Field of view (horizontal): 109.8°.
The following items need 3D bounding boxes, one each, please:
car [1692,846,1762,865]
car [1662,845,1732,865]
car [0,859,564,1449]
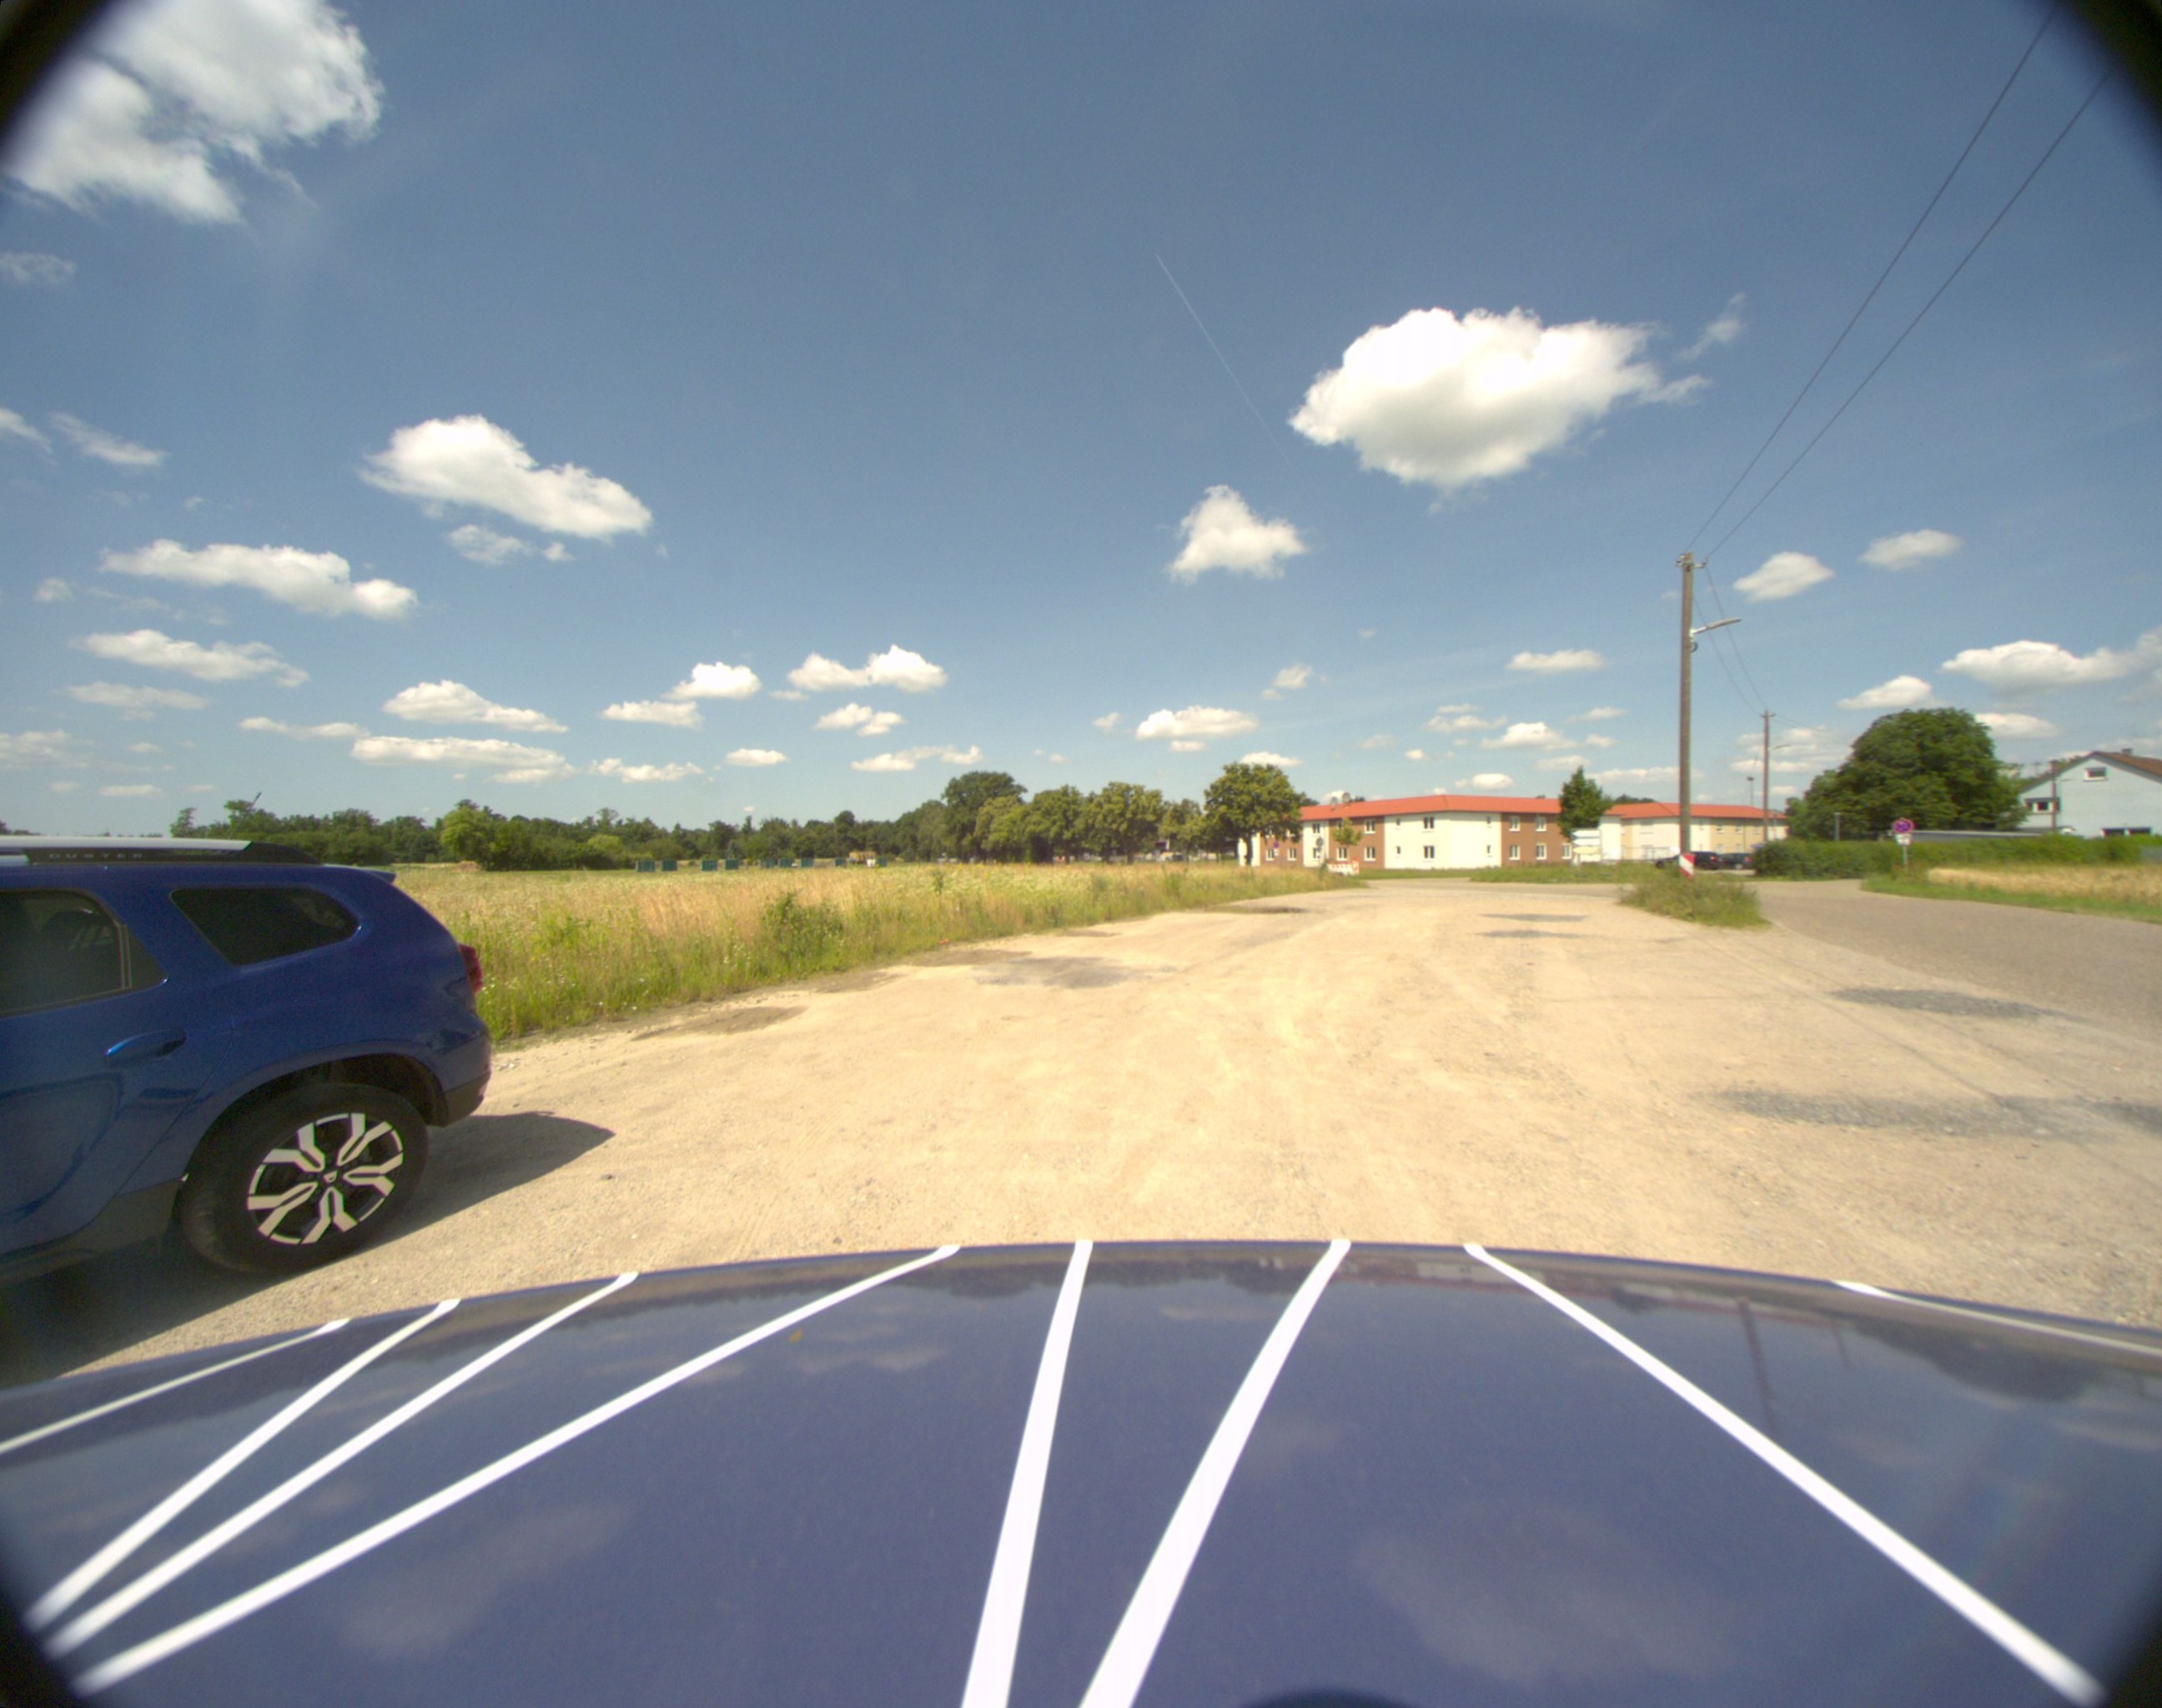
[{"bbox_3d":[55.312,0.145,65.143,2.003,1.605,4.139,0,0,-26],"label":"car"},{"bbox_3d":[51.619,0.058,63.735,2.003,1.605,4.139,0,0,-26],"label":"car"},{"bbox_3d":[-4.197,0.921,1.937,1.860,1.651,4.464,-1,1,19],"label":"car"}]
